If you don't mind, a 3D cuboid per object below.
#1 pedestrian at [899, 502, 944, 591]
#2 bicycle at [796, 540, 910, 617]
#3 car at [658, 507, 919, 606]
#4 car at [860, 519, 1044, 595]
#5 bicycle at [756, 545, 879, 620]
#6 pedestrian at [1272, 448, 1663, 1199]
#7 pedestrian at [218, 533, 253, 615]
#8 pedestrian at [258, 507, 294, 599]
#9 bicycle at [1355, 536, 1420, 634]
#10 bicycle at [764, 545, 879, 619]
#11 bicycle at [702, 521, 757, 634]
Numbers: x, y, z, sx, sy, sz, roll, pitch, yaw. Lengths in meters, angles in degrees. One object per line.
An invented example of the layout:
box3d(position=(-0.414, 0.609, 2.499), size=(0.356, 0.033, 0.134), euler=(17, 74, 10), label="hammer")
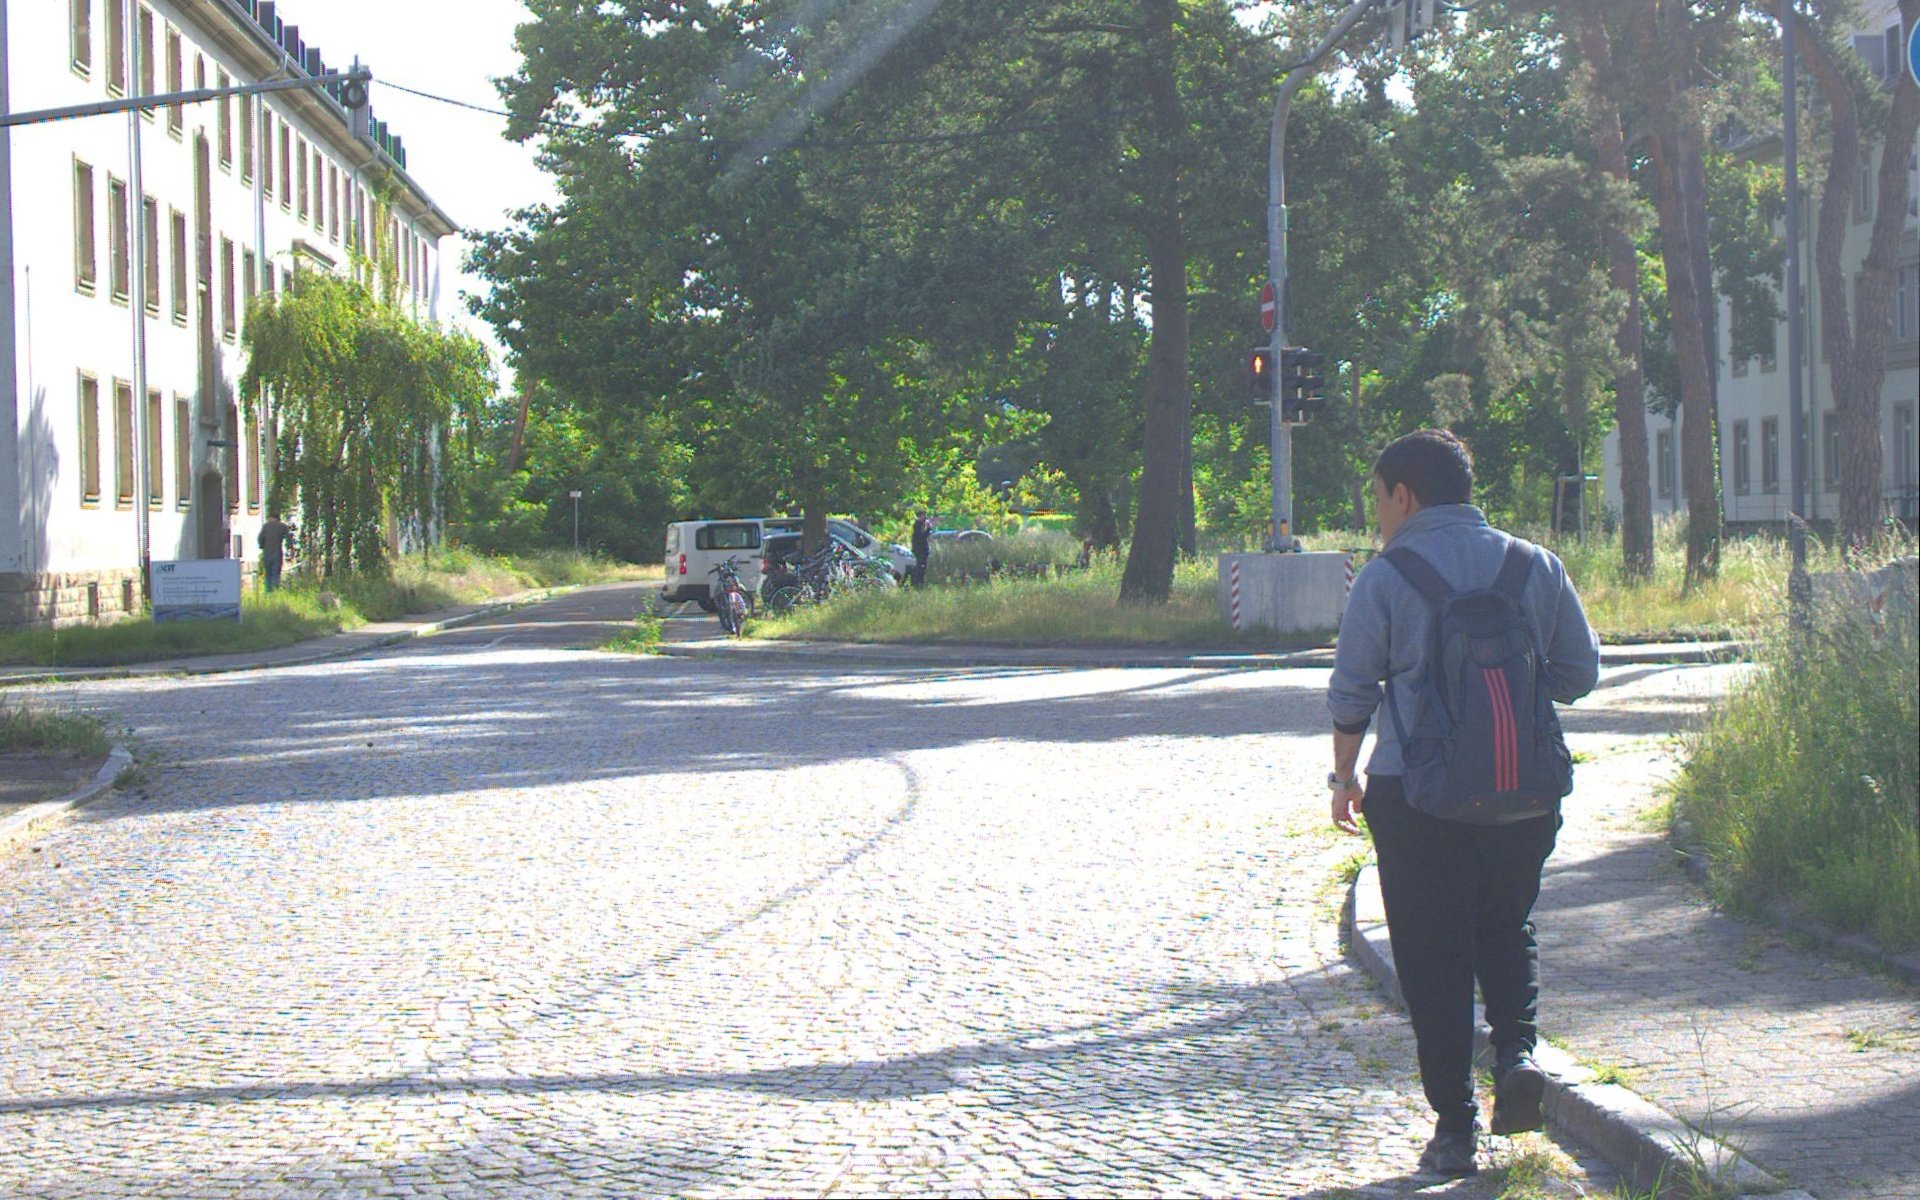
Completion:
box3d(position=(-0.773, -1.079, 69.099), size=(0.759, 1.777, 0.684), euler=(-1, 1, -11), label="pedestrian")
box3d(position=(-1.686, -0.342, 53.968), size=(1.727, 1.160, 0.561), euler=(-1, 1, -6), label="bicycle")
box3d(position=(-3.537, -0.910, 70.539), size=(5.065, 1.911, 2.001), euler=(-1, 1, -12), label="car")
box3d(position=(-0.186, -0.936, 74.575), size=(3.743, 1.574, 1.742), euler=(-1, 1, -10), label="car")
box3d(position=(-2.183, -0.268, 52.701), size=(1.834, 1.108, 0.495), euler=(-1, 1, -6), label="bicycle")
box3d(position=(1.178, 0.510, 8.138), size=(0.753, 1.719, 0.828), euler=(0, 1, -3), label="pedestrian")
box3d(position=(-13.910, -0.500, 66.019), size=(0.606, 1.554, 0.545), euler=(-1, 1, -10), label="pedestrian")
box3d(position=(-13.094, -0.897, 65.830), size=(0.606, 1.746, 0.630), euler=(-1, 1, -16), label="pedestrian")
box3d(position=(5.102, -0.198, 41.137), size=(0.722, 1.111, 2.583), euler=(-1, 1, 6), label="bicycle")
box3d(position=(-2.146, -0.281, 53.248), size=(1.727, 1.108, 0.484), euler=(-1, 1, -6), label="bicycle")
box3d(position=(-3.319, -0.347, 49.575), size=(0.753, 1.575, 2.537), euler=(-1, 1, -4), label="bicycle")
